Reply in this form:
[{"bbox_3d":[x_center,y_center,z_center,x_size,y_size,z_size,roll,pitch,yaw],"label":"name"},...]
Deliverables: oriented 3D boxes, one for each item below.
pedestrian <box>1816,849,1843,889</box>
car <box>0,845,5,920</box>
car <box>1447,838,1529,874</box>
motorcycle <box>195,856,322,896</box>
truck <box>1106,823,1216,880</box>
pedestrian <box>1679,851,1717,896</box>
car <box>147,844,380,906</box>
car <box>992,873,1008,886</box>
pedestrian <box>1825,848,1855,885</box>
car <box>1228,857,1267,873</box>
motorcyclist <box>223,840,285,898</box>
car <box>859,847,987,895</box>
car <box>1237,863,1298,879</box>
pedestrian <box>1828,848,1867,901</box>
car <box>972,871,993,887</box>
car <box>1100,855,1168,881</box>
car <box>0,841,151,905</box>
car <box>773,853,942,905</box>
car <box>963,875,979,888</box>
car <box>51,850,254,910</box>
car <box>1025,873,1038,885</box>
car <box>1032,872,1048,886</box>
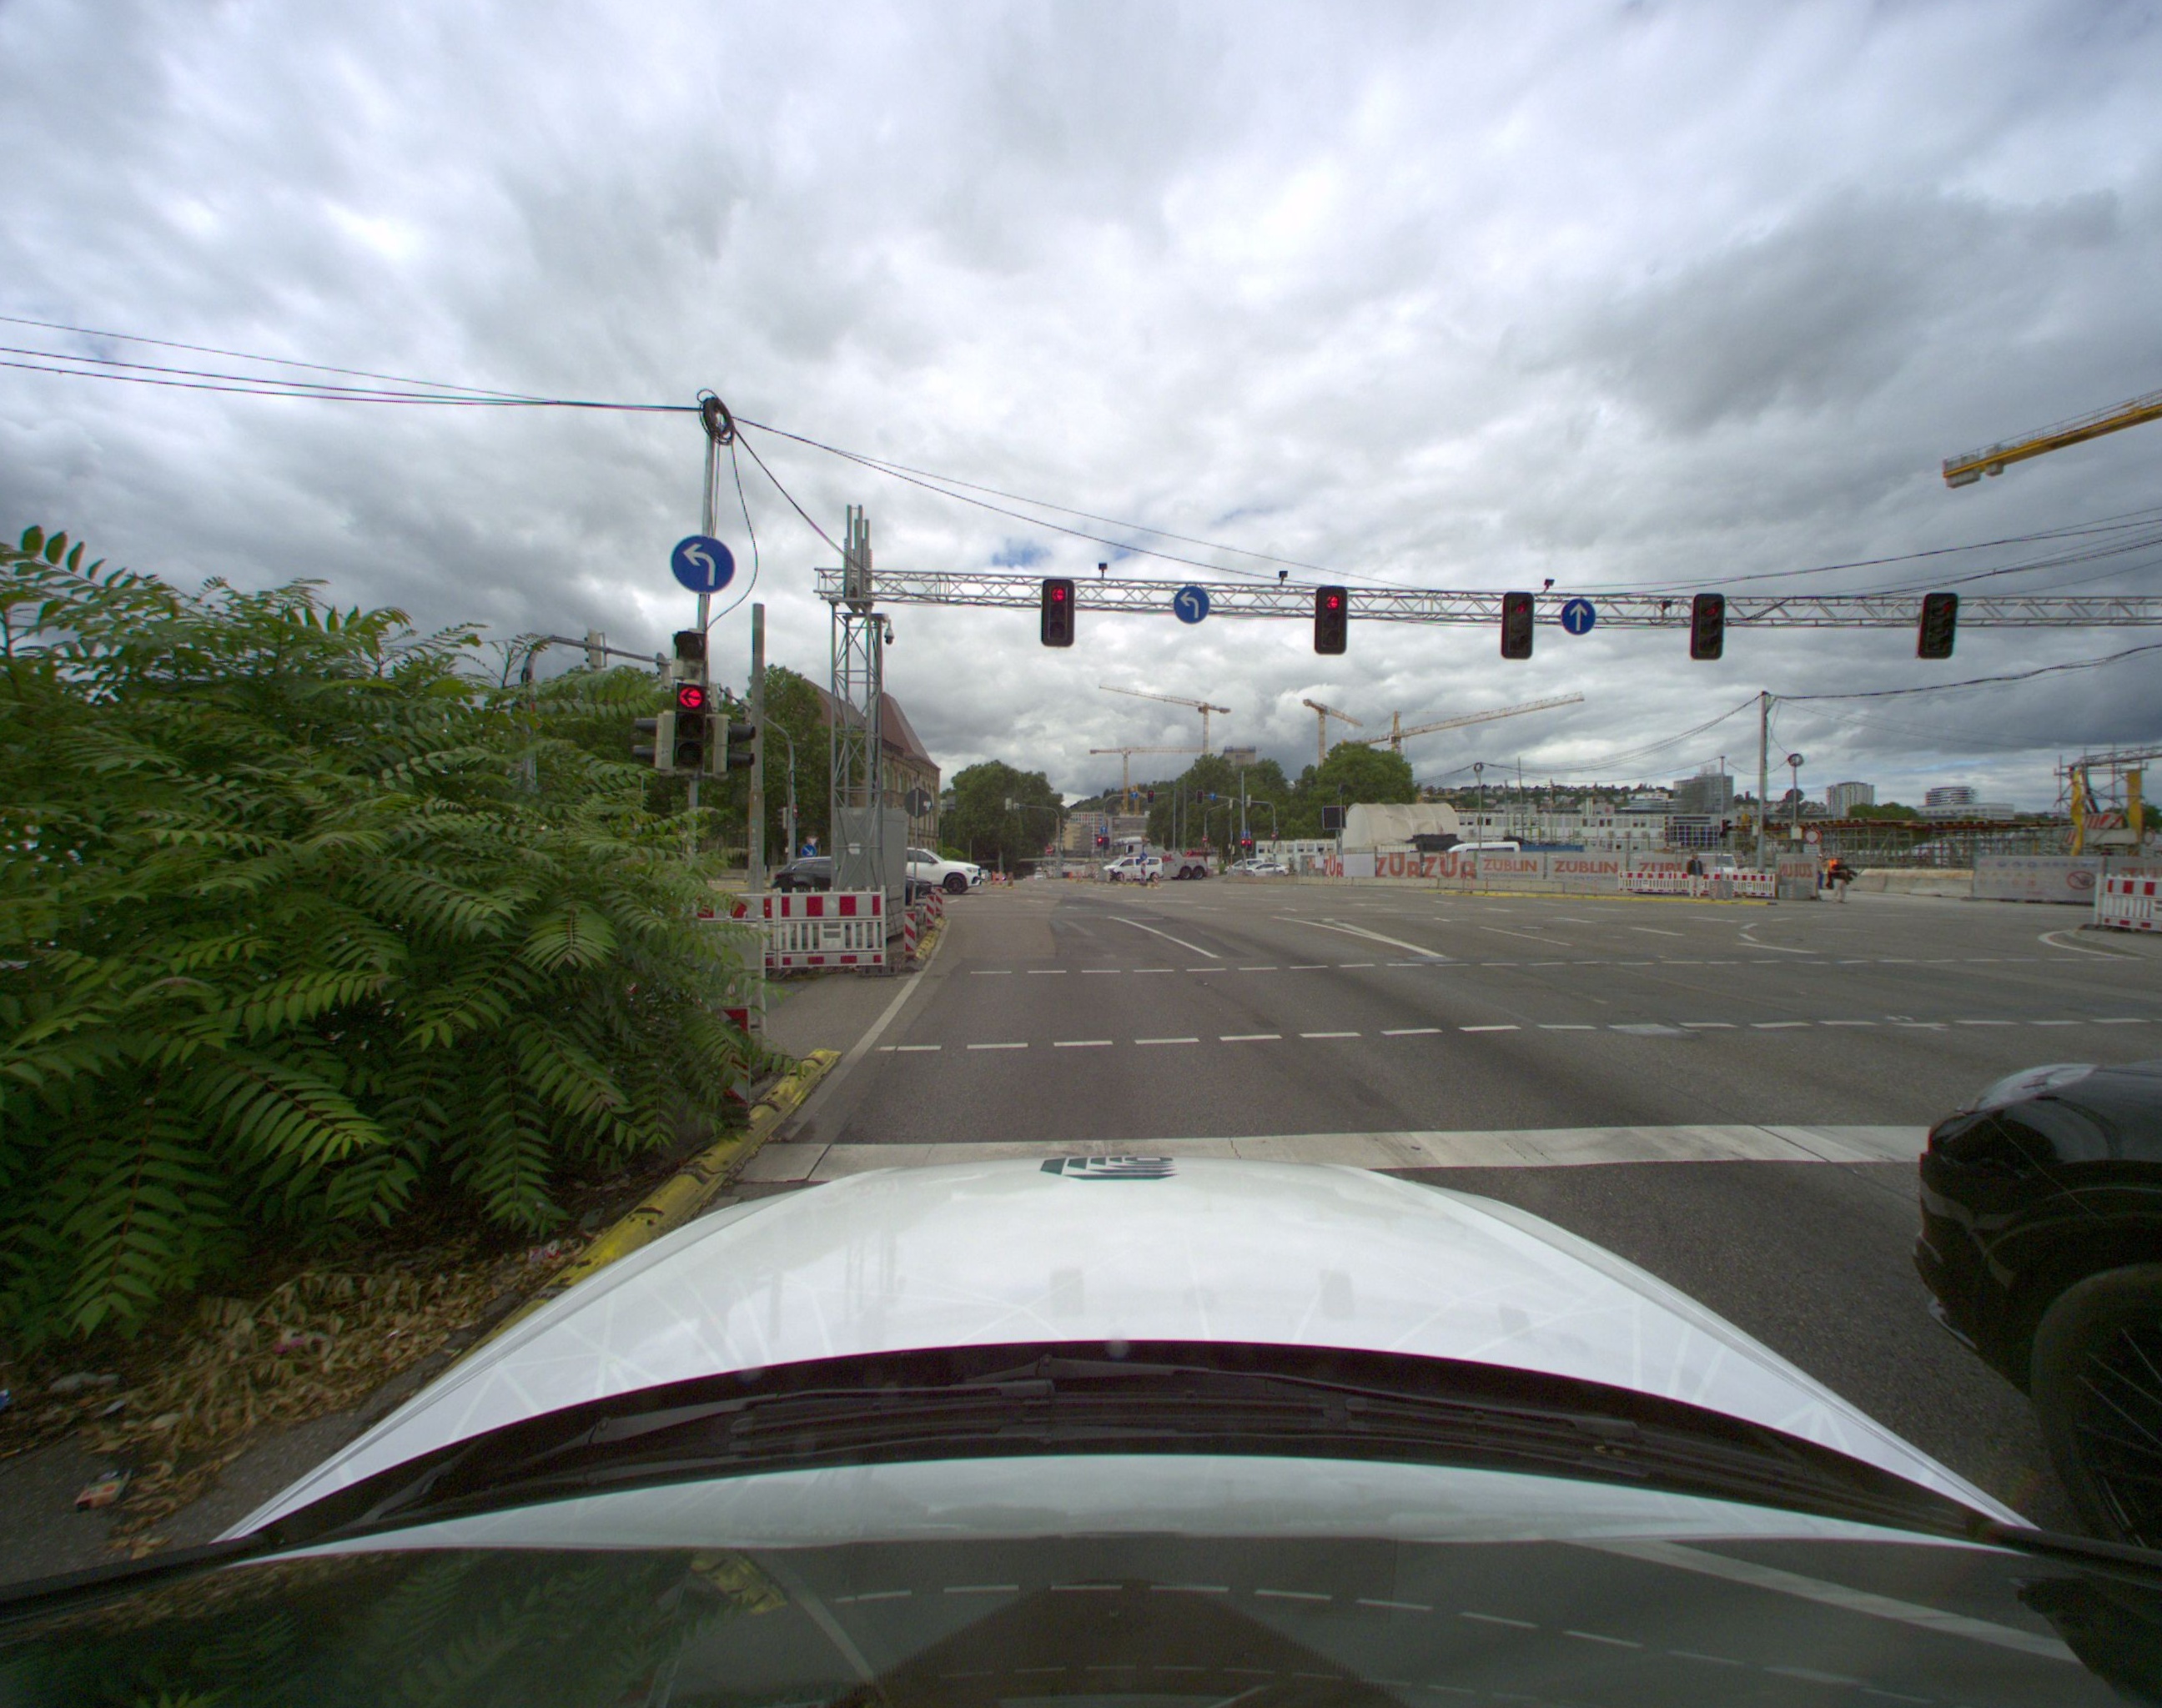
[{"bbox_3d":[38.286,0.747,41.658,0.673,2.014,0.869,-1,-1,14],"label":"pedestrian"},{"bbox_3d":[-25.560,0.624,16.558,4.353,1.626,1.881,0,-1,-8],"label":"car"},{"bbox_3d":[23.465,0.123,47.101,3.955,2.014,2.009,-1,-1,17],"label":"car"},{"bbox_3d":[-20.140,0.532,19.967,2.342,0.941,0.697,0,-1,-2],"label":"motorcycle"},{"bbox_3d":[7.362,-0.251,74.326,9.757,4.961,3.090,0,-1,-23],"label":"truck"},{"bbox_3d":[25.754,0.812,34.018,1.035,1.848,0.794,-1,-1,17],"label":"pedestrian"},{"bbox_3d":[-21.717,0.537,21.786,4.095,1.547,1.999,0,-1,-2],"label":"car"},{"bbox_3d":[-11.600,3.654,116.501,1.987,1.838,3.998,0,-1,-1],"label":"car"},{"bbox_3d":[39.068,0.643,41.925,0.677,1.916,0.865,0,-1,-4],"label":"pedestrian"},{"bbox_3d":[18.326,1.195,89.558,3.956,1.651,1.875,-1,-1,17],"label":"car"},{"bbox_3d":[-20.251,0.364,19.966,0.786,1.380,0.697,0,-1,-2],"label":"motorcyclist"},{"bbox_3d":[-5.948,0.626,31.116,4.477,1.759,1.999,0,-1,-1],"label":"car"},{"bbox_3d":[17.093,1.526,74.810,5.153,1.419,2.221,0,-1,-22],"label":"car"},{"bbox_3d":[29.547,0.771,31.401,1.033,2.014,1.041,-1,-1,42],"label":"pedestrian"},{"bbox_3d":[-11.508,2.918,95.457,1.987,1.838,3.998,0,-1,-1],"label":"car"},{"bbox_3d":[4.321,1.142,66.351,5.149,2.014,2.063,0,-1,-21],"label":"car"},{"bbox_3d":[-29.891,0.519,23.369,4.063,1.740,1.909,1,-1,-1],"label":"car"},{"bbox_3d":[-6.567,0.720,24.314,4.476,1.466,2.000,0,-1,0],"label":"car"},{"bbox_3d":[-16.783,4.186,124.271,1.987,1.838,3.998,0,-1,-1],"label":"car"},{"bbox_3d":[-28.770,0.797,25.353,3.975,1.740,1.909,1,-1,-1],"label":"car"},{"bbox_3d":[-8.117,4.105,134.492,1.987,1.838,3.998,0,-1,-1],"label":"car"},{"bbox_3d":[-5.557,3.419,111.099,1.987,1.838,3.998,0,-1,-1],"label":"car"}]
